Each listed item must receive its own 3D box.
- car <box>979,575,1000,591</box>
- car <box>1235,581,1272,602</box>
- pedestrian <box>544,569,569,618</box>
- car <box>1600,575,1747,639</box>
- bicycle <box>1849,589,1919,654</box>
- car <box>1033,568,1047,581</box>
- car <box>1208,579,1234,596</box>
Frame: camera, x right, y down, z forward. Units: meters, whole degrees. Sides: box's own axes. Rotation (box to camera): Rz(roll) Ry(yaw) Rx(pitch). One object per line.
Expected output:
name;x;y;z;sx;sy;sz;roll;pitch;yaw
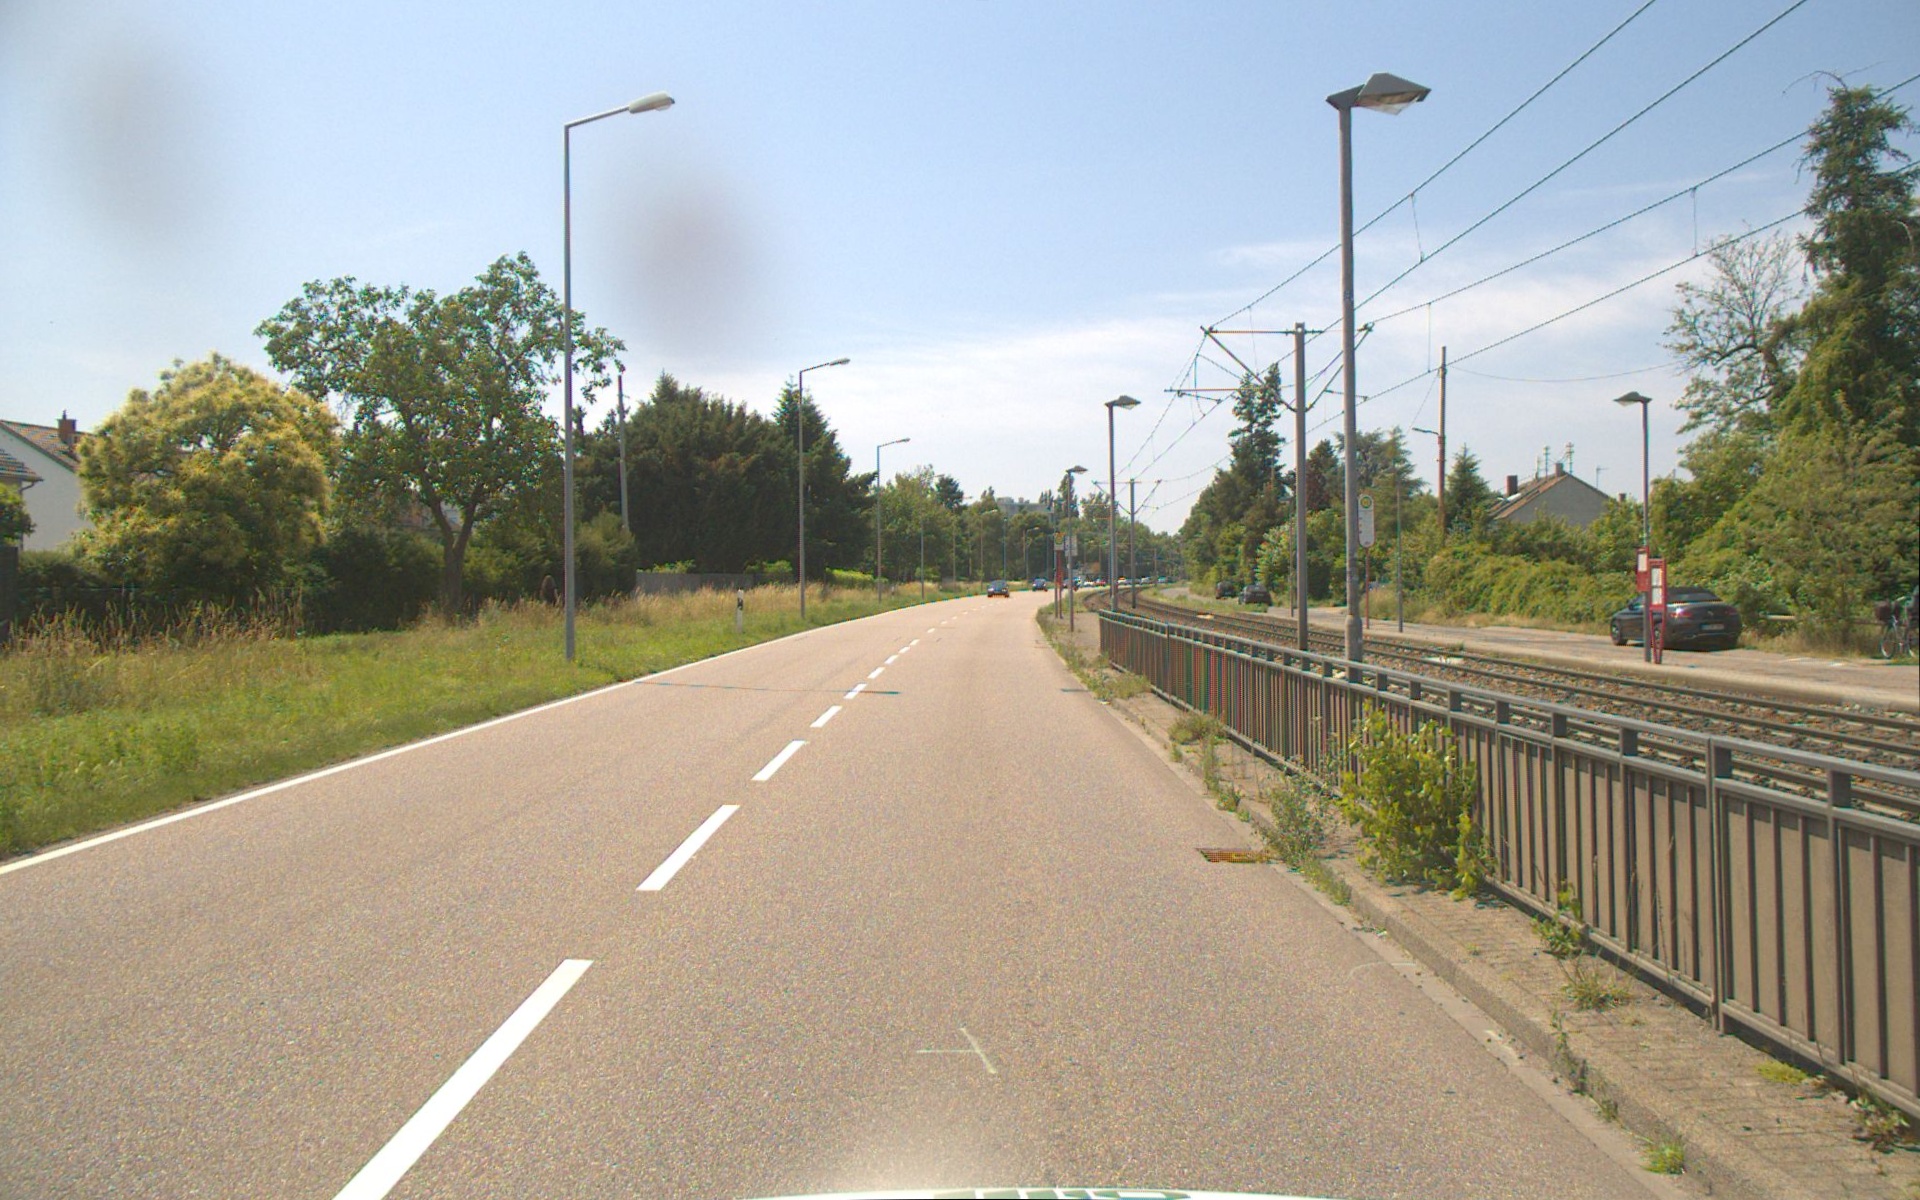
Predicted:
car;2.682;-1.534;147.837;1.670;1.429;4.709;0;1;3
car;19.501;-0.580;110.130;1.822;1.353;4.516;0;1;2
pedestrian;-12.489;-0.216;51.182;0.596;1.503;0.634;0;0;2
car;17.292;0.136;40.329;1.586;1.447;4.874;0;1;1
bicycle;19.232;0.421;33.887;0.695;1.291;1.661;-1;1;-33
car;10.480;-3.317;216.072;1.710;1.660;4.032;0;1;4
car;22.578;-1.091;143.276;1.874;1.496;4.002;0;1;5
